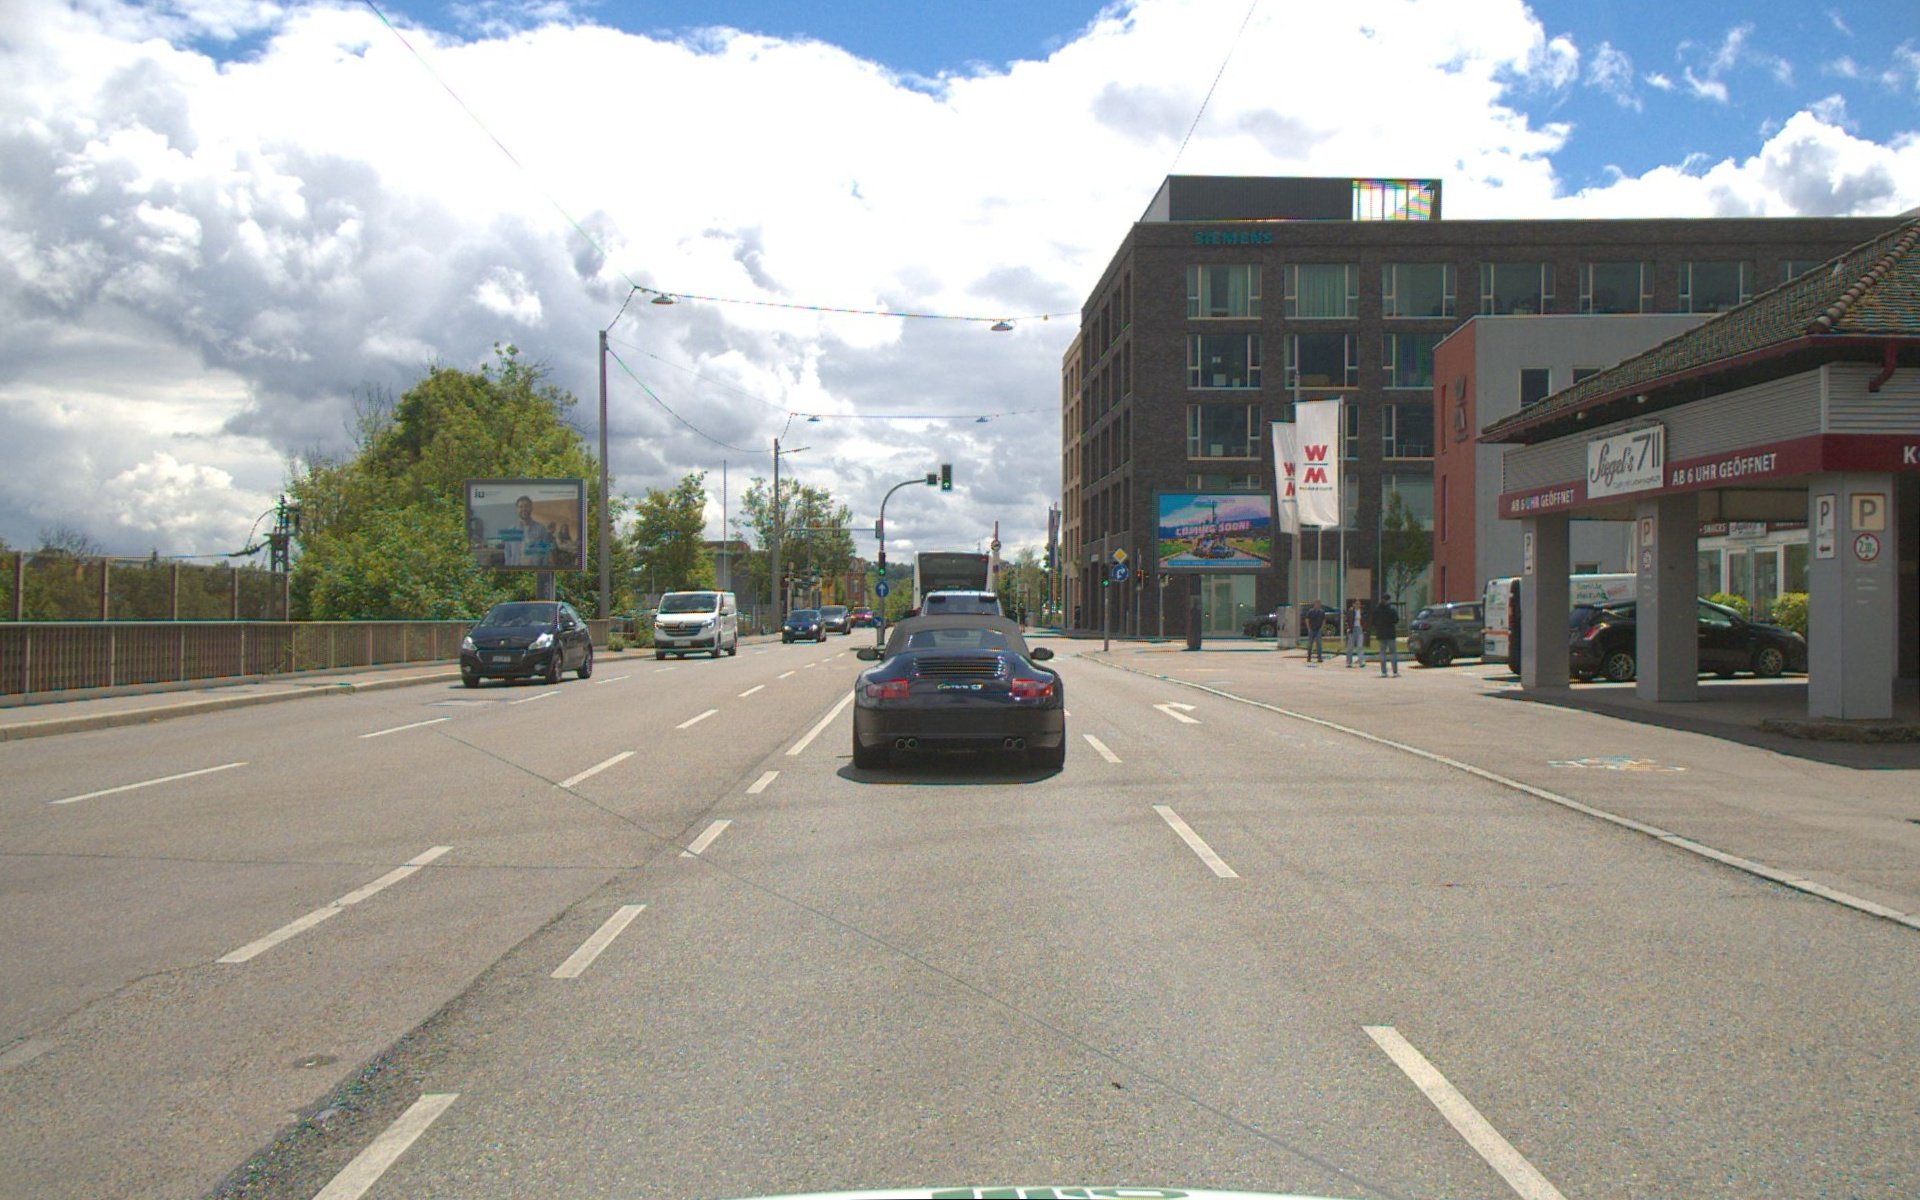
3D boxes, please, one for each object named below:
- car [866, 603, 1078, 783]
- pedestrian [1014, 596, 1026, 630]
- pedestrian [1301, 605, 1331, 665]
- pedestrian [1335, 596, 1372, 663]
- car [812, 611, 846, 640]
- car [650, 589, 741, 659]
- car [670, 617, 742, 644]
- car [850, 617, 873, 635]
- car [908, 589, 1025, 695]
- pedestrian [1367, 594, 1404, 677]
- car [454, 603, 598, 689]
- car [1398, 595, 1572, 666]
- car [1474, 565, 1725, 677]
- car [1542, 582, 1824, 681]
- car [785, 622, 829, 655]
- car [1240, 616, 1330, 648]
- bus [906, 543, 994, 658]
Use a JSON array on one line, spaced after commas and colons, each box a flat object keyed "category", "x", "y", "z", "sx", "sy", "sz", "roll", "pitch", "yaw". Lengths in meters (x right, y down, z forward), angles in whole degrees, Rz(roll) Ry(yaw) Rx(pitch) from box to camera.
[{"category": "car", "x": 0.061, "y": 0.756, "z": 15.329, "sx": 1.685, "sy": 1.297, "sz": 4.087, "roll": 1, "pitch": 2, "yaw": -1}, {"category": "pedestrian", "x": 3.671, "y": 0.808, "z": 101.182, "sx": 0.653, "sy": 2.049, "sz": 0.769, "roll": 0, "pitch": -1, "yaw": -2}, {"category": "pedestrian", "x": 10.146, "y": 1.001, "z": 47.124, "sx": 0.657, "sy": 1.690, "sz": 0.742, "roll": 0, "pitch": -1, "yaw": -2}, {"category": "pedestrian", "x": 10.163, "y": 0.755, "z": 42.714, "sx": 0.693, "sy": 1.726, "sz": 0.924, "roll": 0, "pitch": -1, "yaw": -4}, {"category": "car", "x": -7.397, "y": 1.436, "z": 93.288, "sx": 1.629, "sy": 1.574, "sz": 3.802, "roll": 0, "pitch": -1, "yaw": 0}, {"category": "car", "x": -7.834, "y": 0.715, "z": 49.406, "sx": 1.863, "sy": 1.920, "sz": 5.311, "roll": -2, "pitch": -1, "yaw": -1}, {"category": "car", "x": -12.306, "y": 1.448, "z": 80.129, "sx": 3.448, "sy": 1.286, "sz": 1.387, "roll": 0, "pitch": -1, "yaw": -10}, {"category": "car", "x": -7.721, "y": 2.040, "z": 129.964, "sx": 1.629, "sy": 1.440, "sz": 3.802, "roll": 0, "pitch": -1, "yaw": 0}, {"category": "car", "x": 0.042, "y": 0.684, "z": 29.577, "sx": 1.842, "sy": 1.621, "sz": 4.228, "roll": 1, "pitch": 1, "yaw": -3}, {"category": "pedestrian", "x": 8.919, "y": 0.738, "z": 34.680, "sx": 0.666, "sy": 1.726, "sz": 0.598, "roll": 0, "pitch": -1, "yaw": 24}, {"category": "car", "x": -7.814, "y": 0.805, "z": 30.116, "sx": 1.595, "sy": 1.455, "sz": 3.999, "roll": 0, "pitch": -1, "yaw": -1}, {"category": "car", "x": 12.950, "y": 0.753, "z": 40.926, "sx": 3.683, "sy": 1.465, "sz": 1.719, "roll": -4, "pitch": -1, "yaw": 0}, {"category": "car", "x": 12.650, "y": 0.419, "z": 32.930, "sx": 4.144, "sy": 1.970, "sz": 2.029, "roll": -2, "pitch": -1, "yaw": 0}, {"category": "car", "x": 12.947, "y": 0.565, "z": 29.804, "sx": 4.213, "sy": 1.539, "sz": 1.846, "roll": -3, "pitch": -2, "yaw": -1}, {"category": "car", "x": -6.823, "y": 1.687, "z": 73.988, "sx": 1.629, "sy": 1.440, "sz": 3.802, "roll": 0, "pitch": -1, "yaw": 0}, {"category": "car", "x": 14.905, "y": 1.447, "z": 75.983, "sx": 3.849, "sy": 1.456, "sz": 1.473, "roll": 0, "pitch": -1, "yaw": -1}, {"category": "bus", "x": -0.295, "y": -0.198, "z": 56.859, "sx": 2.634, "sy": 3.311, "sz": 12.060, "roll": 2, "pitch": 3, "yaw": 0}]
